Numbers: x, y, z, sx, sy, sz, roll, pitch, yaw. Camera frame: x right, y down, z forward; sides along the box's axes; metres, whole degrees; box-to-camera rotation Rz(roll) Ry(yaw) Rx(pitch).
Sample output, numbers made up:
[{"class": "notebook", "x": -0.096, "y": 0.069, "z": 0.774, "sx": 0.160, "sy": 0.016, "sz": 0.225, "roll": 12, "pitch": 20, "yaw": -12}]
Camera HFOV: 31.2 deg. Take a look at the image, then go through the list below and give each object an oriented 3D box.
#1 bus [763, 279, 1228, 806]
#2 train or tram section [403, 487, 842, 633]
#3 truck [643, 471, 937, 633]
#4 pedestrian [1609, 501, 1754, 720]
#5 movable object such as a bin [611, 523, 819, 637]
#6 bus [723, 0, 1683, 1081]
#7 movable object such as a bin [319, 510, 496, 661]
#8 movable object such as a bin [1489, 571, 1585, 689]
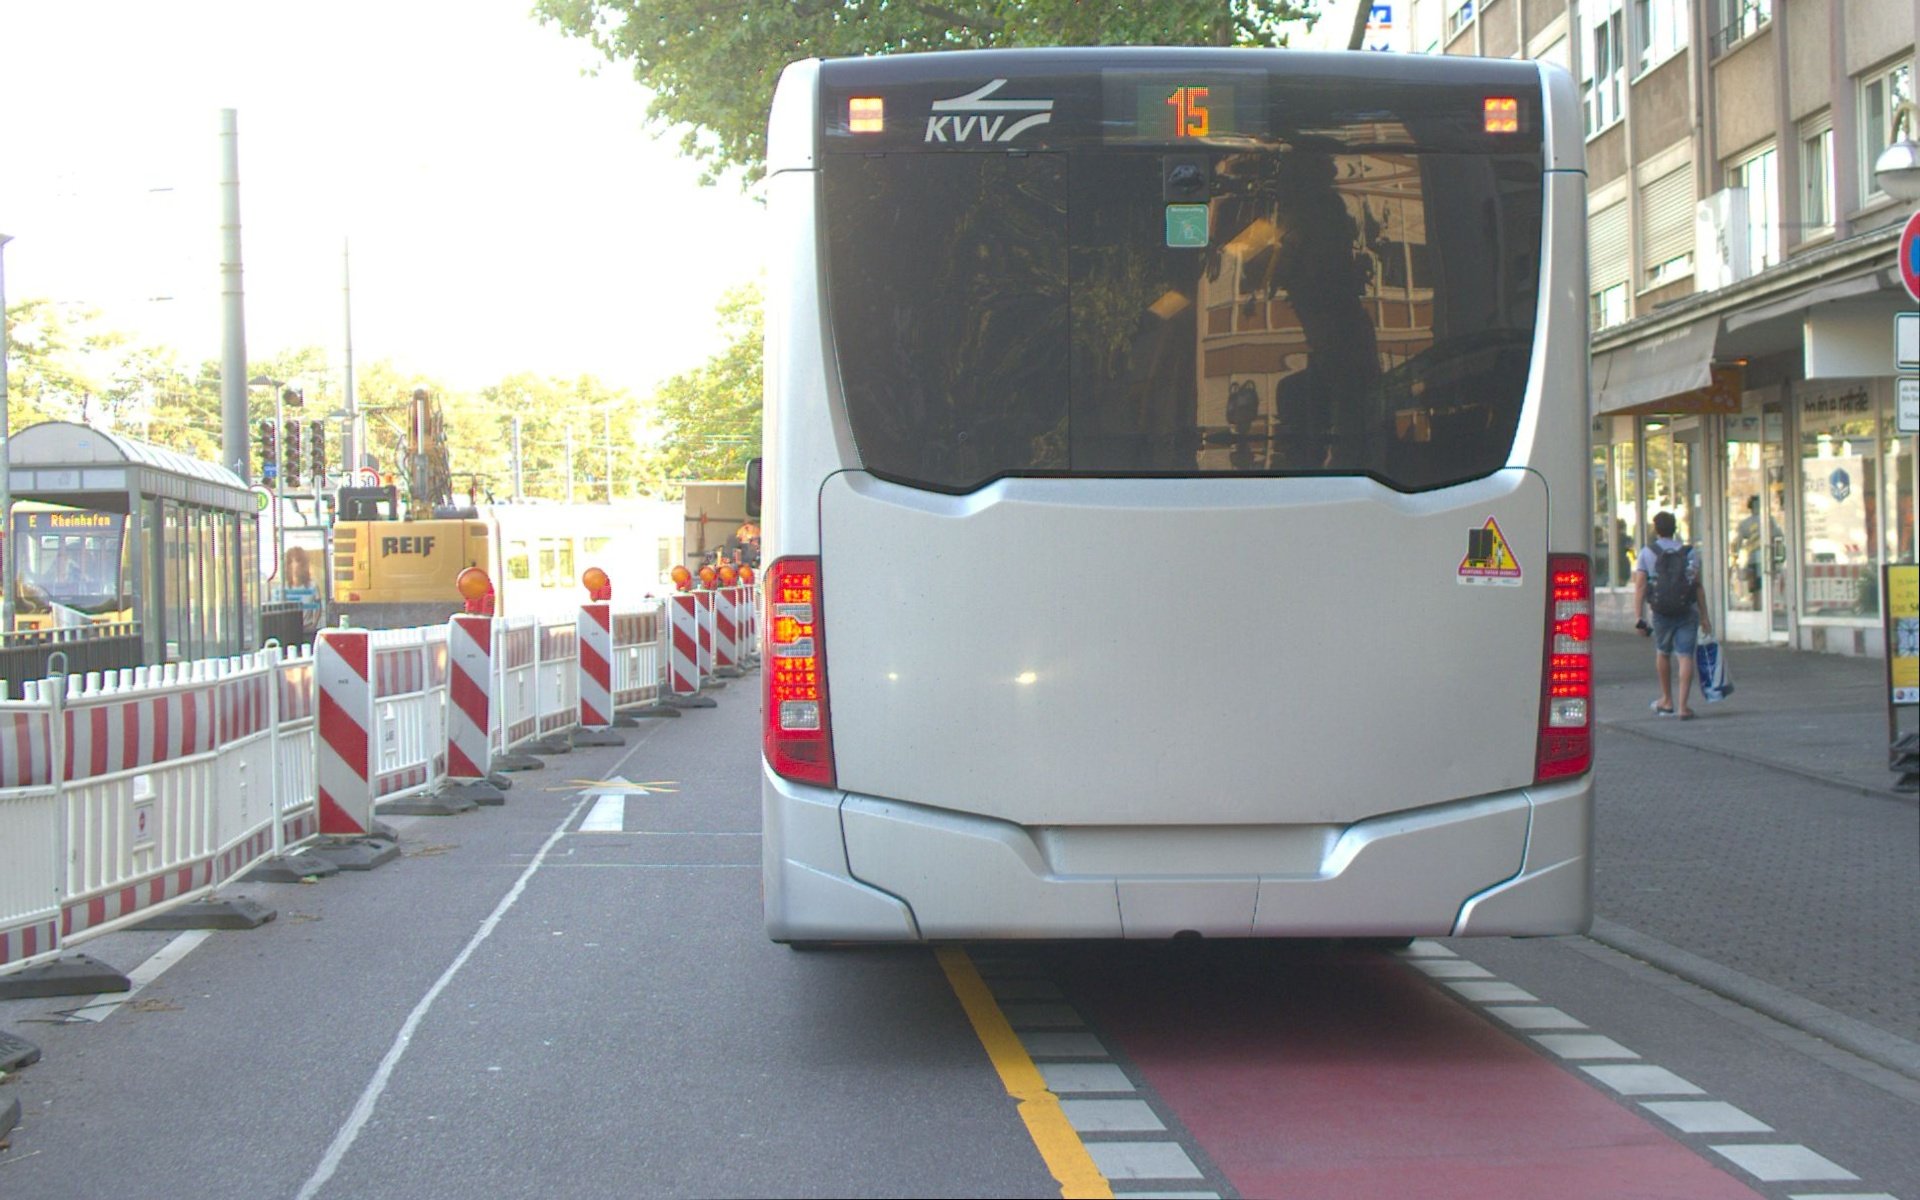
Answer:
[{"class": "bus", "x": -0.038, "y": -0.395, "z": 25.015, "sx": 2.708, "sy": 3.096, "sz": 8.981, "roll": -1, "pitch": 1, "yaw": -3}, {"class": "train or tram section", "x": -8.417, "y": -1.067, "z": 88.667, "sx": 2.856, "sy": 3.521, "sz": 13.367, "roll": -1, "pitch": 1, "yaw": 37}, {"class": "truck", "x": -3.789, "y": -1.129, "z": 79.768, "sx": 2.816, "sy": 3.529, "sz": 8.971, "roll": -1, "pitch": 1, "yaw": 26}, {"class": "pedestrian", "x": 5.709, "y": 0.074, "z": 27.244, "sx": 0.843, "sy": 1.667, "sz": 0.990, "roll": -3, "pitch": 1, "yaw": -2}, {"class": "movable object such as a bin", "x": -5.000, "y": -0.453, "z": 70.880, "sx": 1.996, "sy": 2.249, "sz": 5.201, "roll": 1, "pitch": 1, "yaw": 25}, {"class": "bus", "x": 0.477, "y": -0.284, "z": 15.203, "sx": 2.733, "sy": 3.128, "sz": 10.704, "roll": -1, "pitch": 1, "yaw": -2}, {"class": "movable object such as a bin", "x": -8.894, "y": -0.260, "z": 55.763, "sx": 2.642, "sy": 2.310, "sz": 4.903, "roll": -1, "pitch": 1, "yaw": -7}, {"class": "movable object such as a bin", "x": 5.591, "y": 0.281, "z": 33.347, "sx": 0.674, "sy": 1.071, "sz": 1.228, "roll": -2, "pitch": 2, "yaw": -1}]
